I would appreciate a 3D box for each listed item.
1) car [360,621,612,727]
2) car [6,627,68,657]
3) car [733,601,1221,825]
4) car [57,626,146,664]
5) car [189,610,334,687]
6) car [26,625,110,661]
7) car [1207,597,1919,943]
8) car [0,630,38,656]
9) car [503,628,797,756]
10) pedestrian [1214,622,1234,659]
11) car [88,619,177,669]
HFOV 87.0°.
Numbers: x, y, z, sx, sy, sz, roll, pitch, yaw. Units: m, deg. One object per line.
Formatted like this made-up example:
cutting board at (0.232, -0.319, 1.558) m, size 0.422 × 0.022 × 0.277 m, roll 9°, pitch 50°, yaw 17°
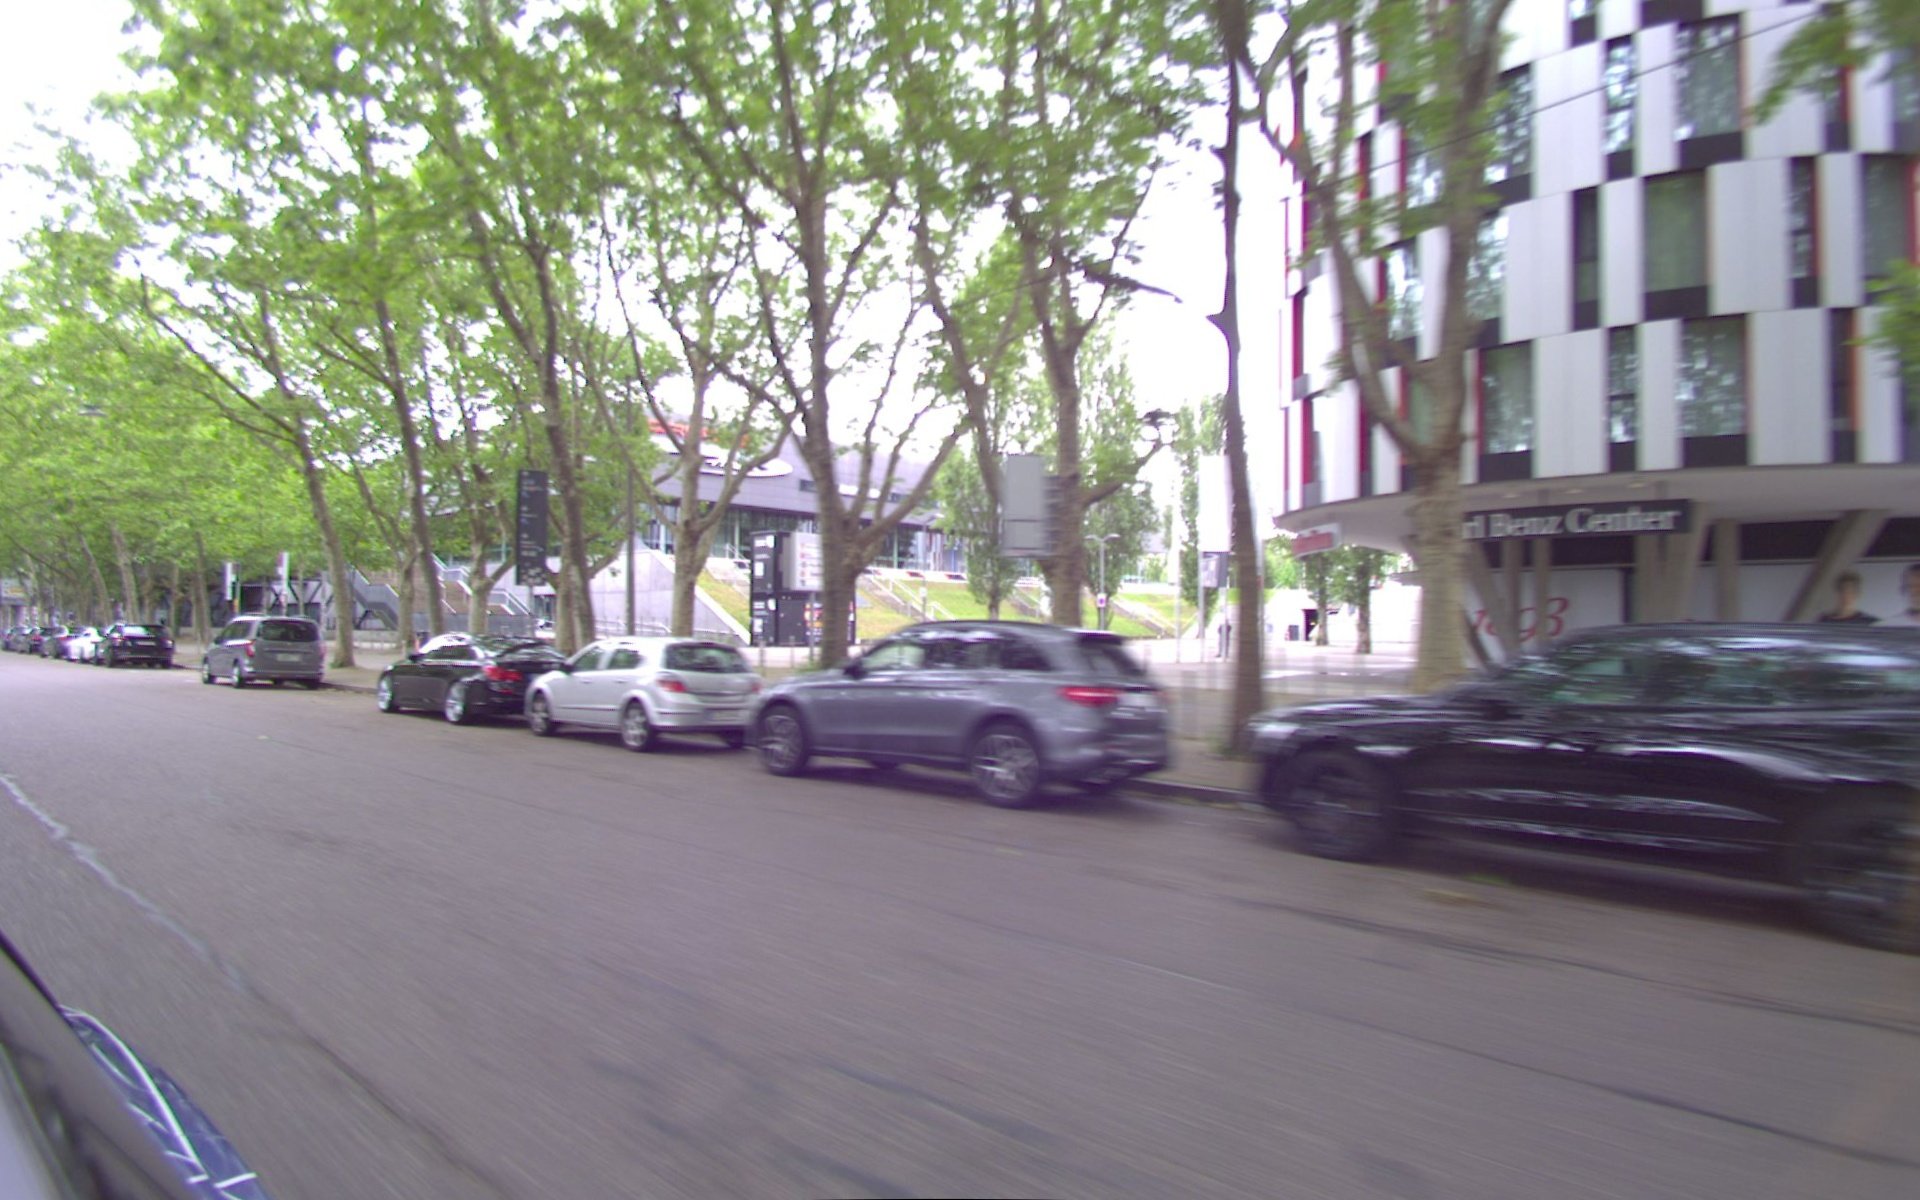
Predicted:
car at (-8.216, 1.184, 17.281) m, size 5.144 × 1.542 × 2.061 m, roll -2°, pitch -4°, yaw 42°
car at (-46.493, 2.100, 50.943) m, size 4.328 × 1.392 × 1.690 m, roll -1°, pitch -6°, yaw 41°
car at (0.017, 0.975, 10.052) m, size 4.642 × 1.731 × 1.851 m, roll -1°, pitch -5°, yaw 38°
car at (-33.550, 1.755, 39.483) m, size 5.001 × 1.373 × 1.797 m, roll -2°, pitch -4°, yaw 40°
car at (-18.170, 1.231, 26.243) m, size 4.609 × 1.809 × 1.876 m, roll -1°, pitch -5°, yaw 41°
car at (-38.518, 1.835, 43.648) m, size 4.987 × 1.496 × 1.802 m, roll -1°, pitch -3°, yaw 38°
car at (4.278, 0.907, 6.476) m, size 4.927 × 1.655 × 1.916 m, roll -1°, pitch -5°, yaw 42°
car at (-53.577, 2.422, 57.251) m, size 4.000 × 1.372 × 1.675 m, roll -2°, pitch -7°, yaw 43°
car at (-4.314, 1.166, 13.784) m, size 4.228 × 1.467 × 1.814 m, roll -1°, pitch -5°, yaw 41°
pedestrian at (12.238, 1.852, 46.929) m, size 0.693 × 1.703 × 0.636 m, roll -1°, pitch -2°, yaw 43°
car at (-29.470, 1.555, 36.009) m, size 4.344 × 1.606 × 1.798 m, roll -1°, pitch -5°, yaw 43°
